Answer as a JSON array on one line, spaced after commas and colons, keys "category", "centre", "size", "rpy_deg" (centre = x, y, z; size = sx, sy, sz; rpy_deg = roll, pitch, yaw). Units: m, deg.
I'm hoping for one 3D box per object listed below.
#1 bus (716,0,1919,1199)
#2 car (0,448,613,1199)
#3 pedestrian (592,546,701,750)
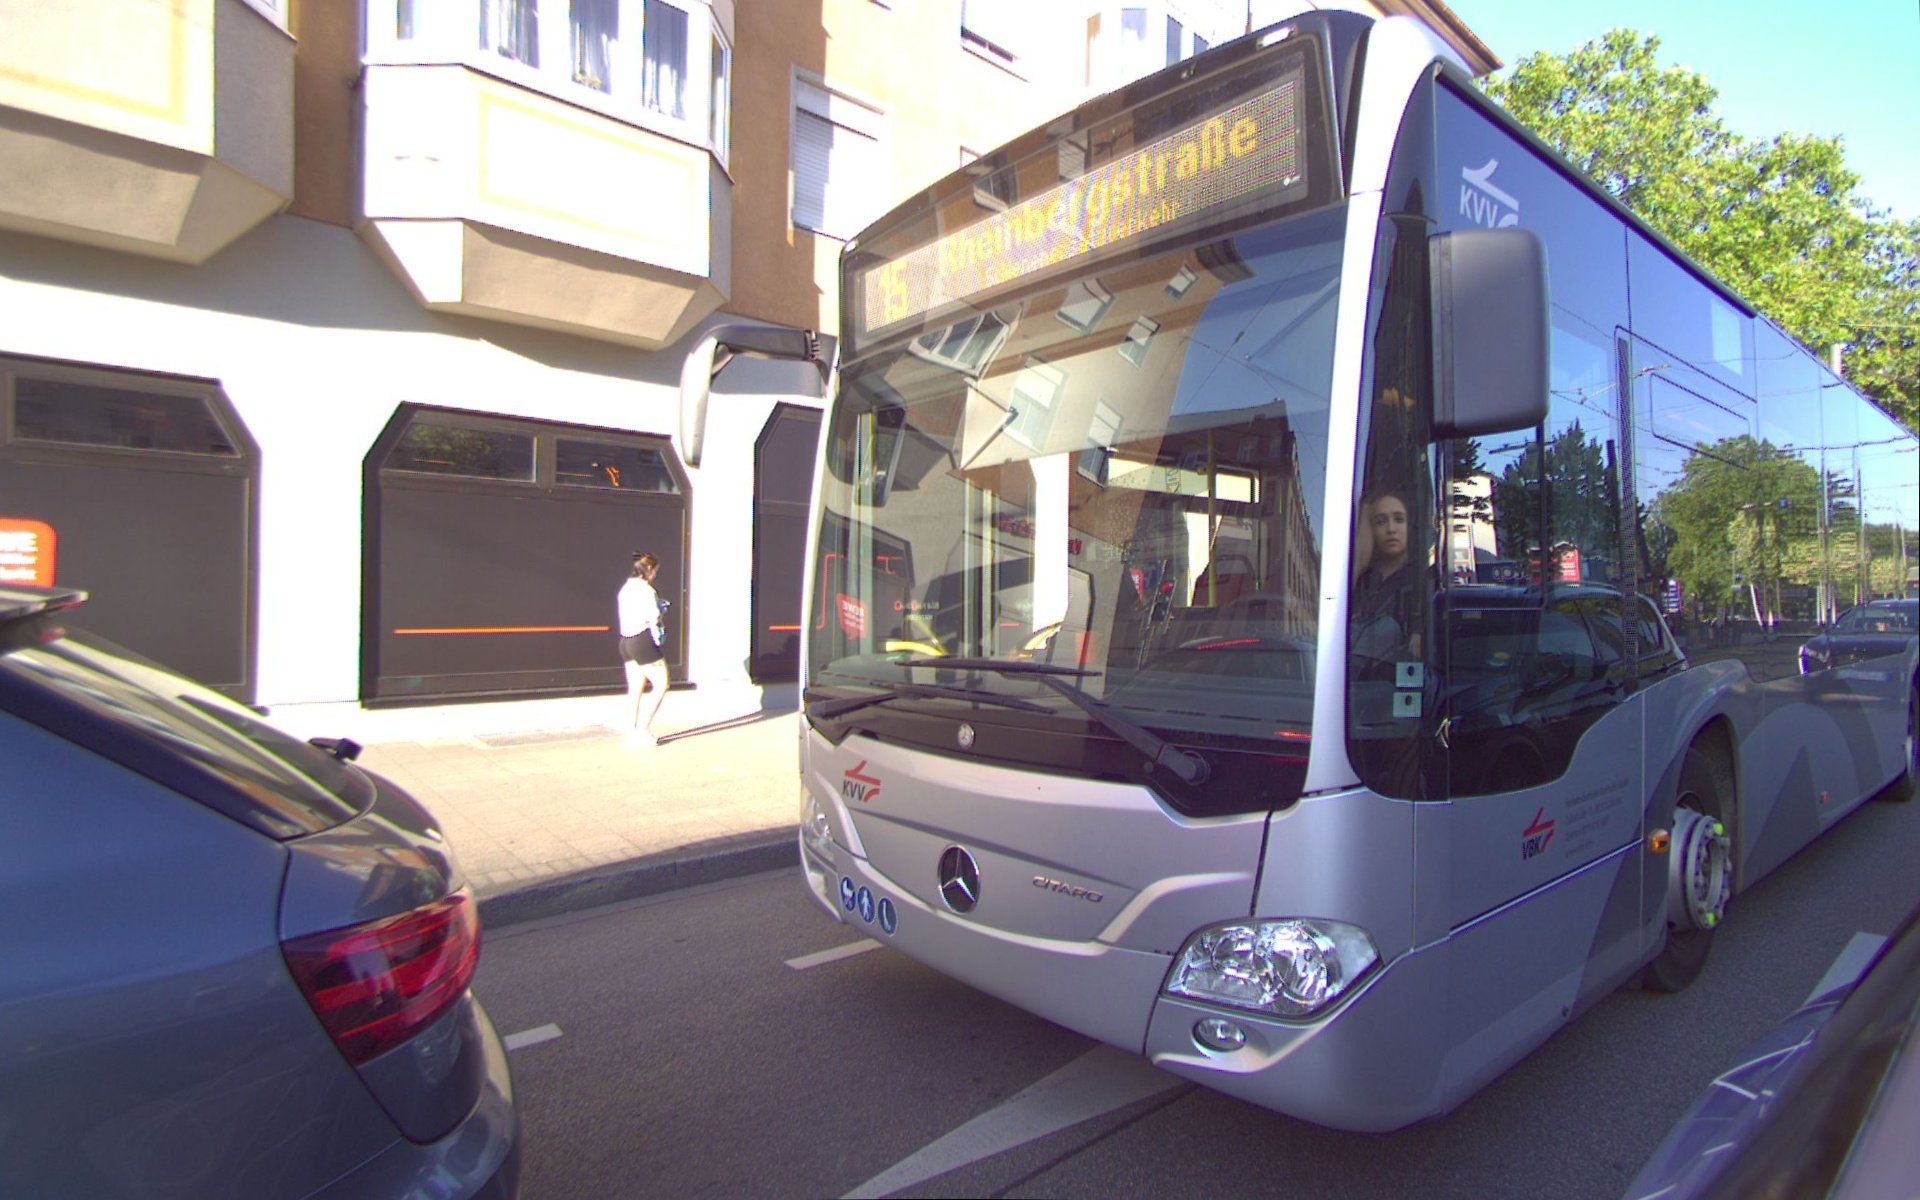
[{"category": "bus", "centre": [6.497, -0.171, 8.678], "size": [17.432, 3.189, 2.771], "rpy_deg": [0, 1, -41]}, {"category": "car", "centre": [-2.574, 0.639, 0.618], "size": [4.151, 1.572, 1.700], "rpy_deg": [0, 0, -41]}, {"category": "pedestrian", "centre": [-2.601, 0.369, 8.401], "size": [0.657, 1.603, 0.580], "rpy_deg": [0, 1, -43]}]
